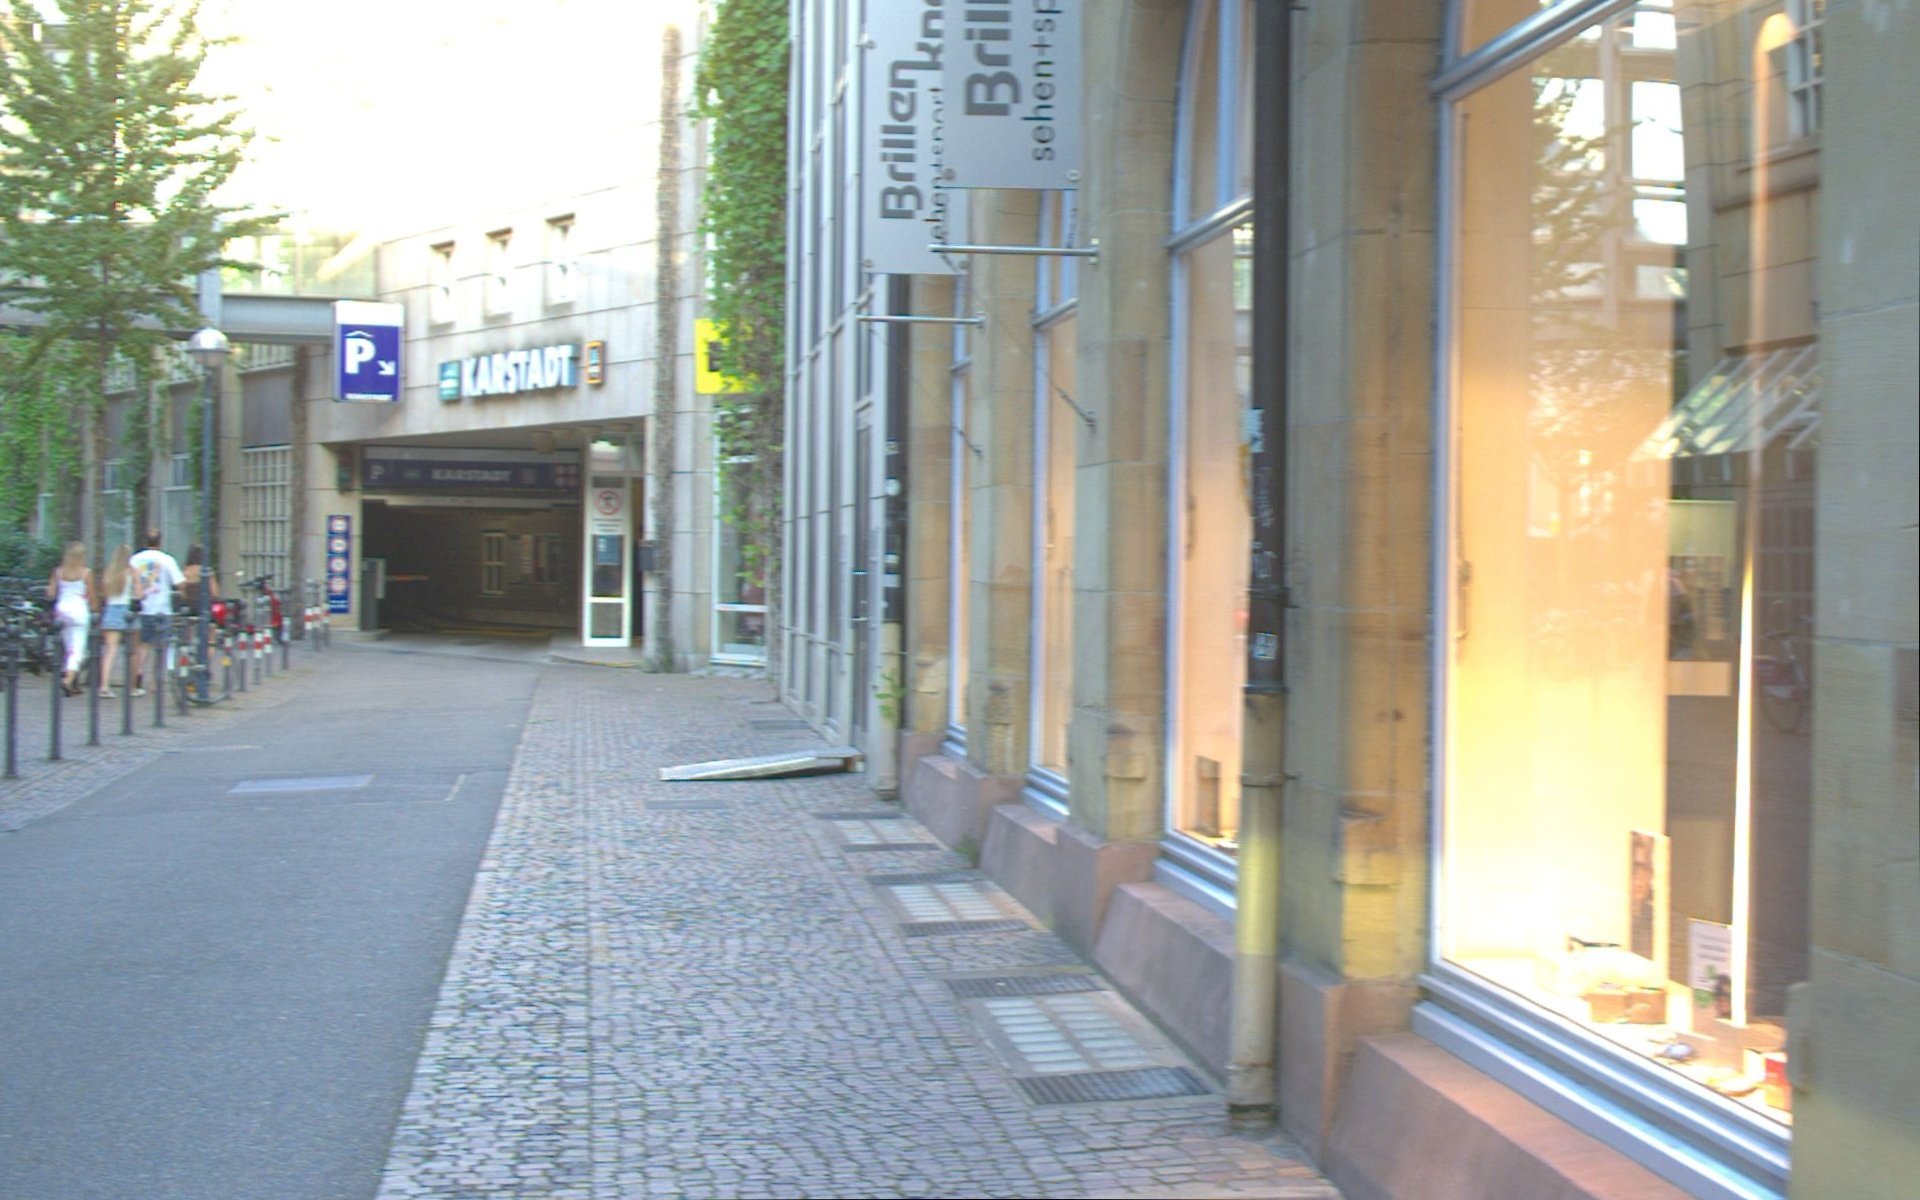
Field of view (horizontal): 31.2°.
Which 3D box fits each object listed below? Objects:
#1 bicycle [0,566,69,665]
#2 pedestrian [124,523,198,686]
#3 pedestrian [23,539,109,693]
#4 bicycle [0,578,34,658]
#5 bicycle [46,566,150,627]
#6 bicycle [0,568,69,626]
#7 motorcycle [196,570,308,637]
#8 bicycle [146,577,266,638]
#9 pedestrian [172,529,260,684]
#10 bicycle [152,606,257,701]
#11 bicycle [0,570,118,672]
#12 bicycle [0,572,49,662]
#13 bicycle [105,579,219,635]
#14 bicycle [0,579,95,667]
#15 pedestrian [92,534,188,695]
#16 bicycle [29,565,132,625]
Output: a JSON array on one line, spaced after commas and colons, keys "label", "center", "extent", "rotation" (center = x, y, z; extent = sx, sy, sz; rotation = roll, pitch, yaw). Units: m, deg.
[{"label": "bicycle", "center": [-12.119, 0.196, 43.280], "extent": [1.653, 1.226, 0.534], "rotation": [-1, 1, -29]}, {"label": "pedestrian", "center": [-9.033, 0.045, 38.900], "extent": [0.742, 1.816, 0.878], "rotation": [0, 1, -8]}, {"label": "pedestrian", "center": [-9.742, 0.166, 37.476], "extent": [0.674, 1.659, 0.860], "rotation": [1, 1, 2]}, {"label": "bicycle", "center": [-13.286, 0.247, 45.541], "extent": [1.894, 1.048, 0.534], "rotation": [-1, 1, -29]}, {"label": "bicycle", "center": [-15.814, -0.074, 63.096], "extent": [1.773, 1.111, 0.543], "rotation": [0, 1, -27]}, {"label": "bicycle", "center": [-18.101, -0.065, 66.180], "extent": [1.773, 1.111, 0.543], "rotation": [0, 1, -27]}, {"label": "motorcycle", "center": [-11.188, 0.044, 54.334], "extent": [1.662, 1.047, 0.464], "rotation": [0, 1, -27]}, {"label": "bicycle", "center": [-12.246, 0.120, 55.853], "extent": [1.848, 0.979, 0.464], "rotation": [0, 1, -27]}, {"label": "pedestrian", "center": [-8.761, 0.061, 40.511], "extent": [0.785, 1.789, 0.972], "rotation": [0, 2, 3]}, {"label": "bicycle", "center": [-7.894, 0.551, 35.977], "extent": [0.493, 0.935, 1.658], "rotation": [2, 1, 8]}, {"label": "bicycle", "center": [-11.257, 0.252, 42.090], "extent": [1.766, 1.226, 0.534], "rotation": [-1, 1, -29]}, {"label": "bicycle", "center": [-12.946, 0.222, 45.046], "extent": [1.872, 1.173, 0.534], "rotation": [-1, 1, -29]}, {"label": "bicycle", "center": [-13.139, 0.113, 56.610], "extent": [1.773, 0.901, 0.464], "rotation": [0, 1, -27]}, {"label": "bicycle", "center": [-12.109, 0.293, 44.180], "extent": [1.836, 1.118, 0.534], "rotation": [-1, 1, -29]}, {"label": "pedestrian", "center": [-8.940, 0.151, 37.497], "extent": [0.806, 1.723, 0.949], "rotation": [1, 1, 0]}, {"label": "bicycle", "center": [-16.398, -0.104, 64.099], "extent": [1.773, 1.111, 0.543], "rotation": [0, 1, -27]}]
